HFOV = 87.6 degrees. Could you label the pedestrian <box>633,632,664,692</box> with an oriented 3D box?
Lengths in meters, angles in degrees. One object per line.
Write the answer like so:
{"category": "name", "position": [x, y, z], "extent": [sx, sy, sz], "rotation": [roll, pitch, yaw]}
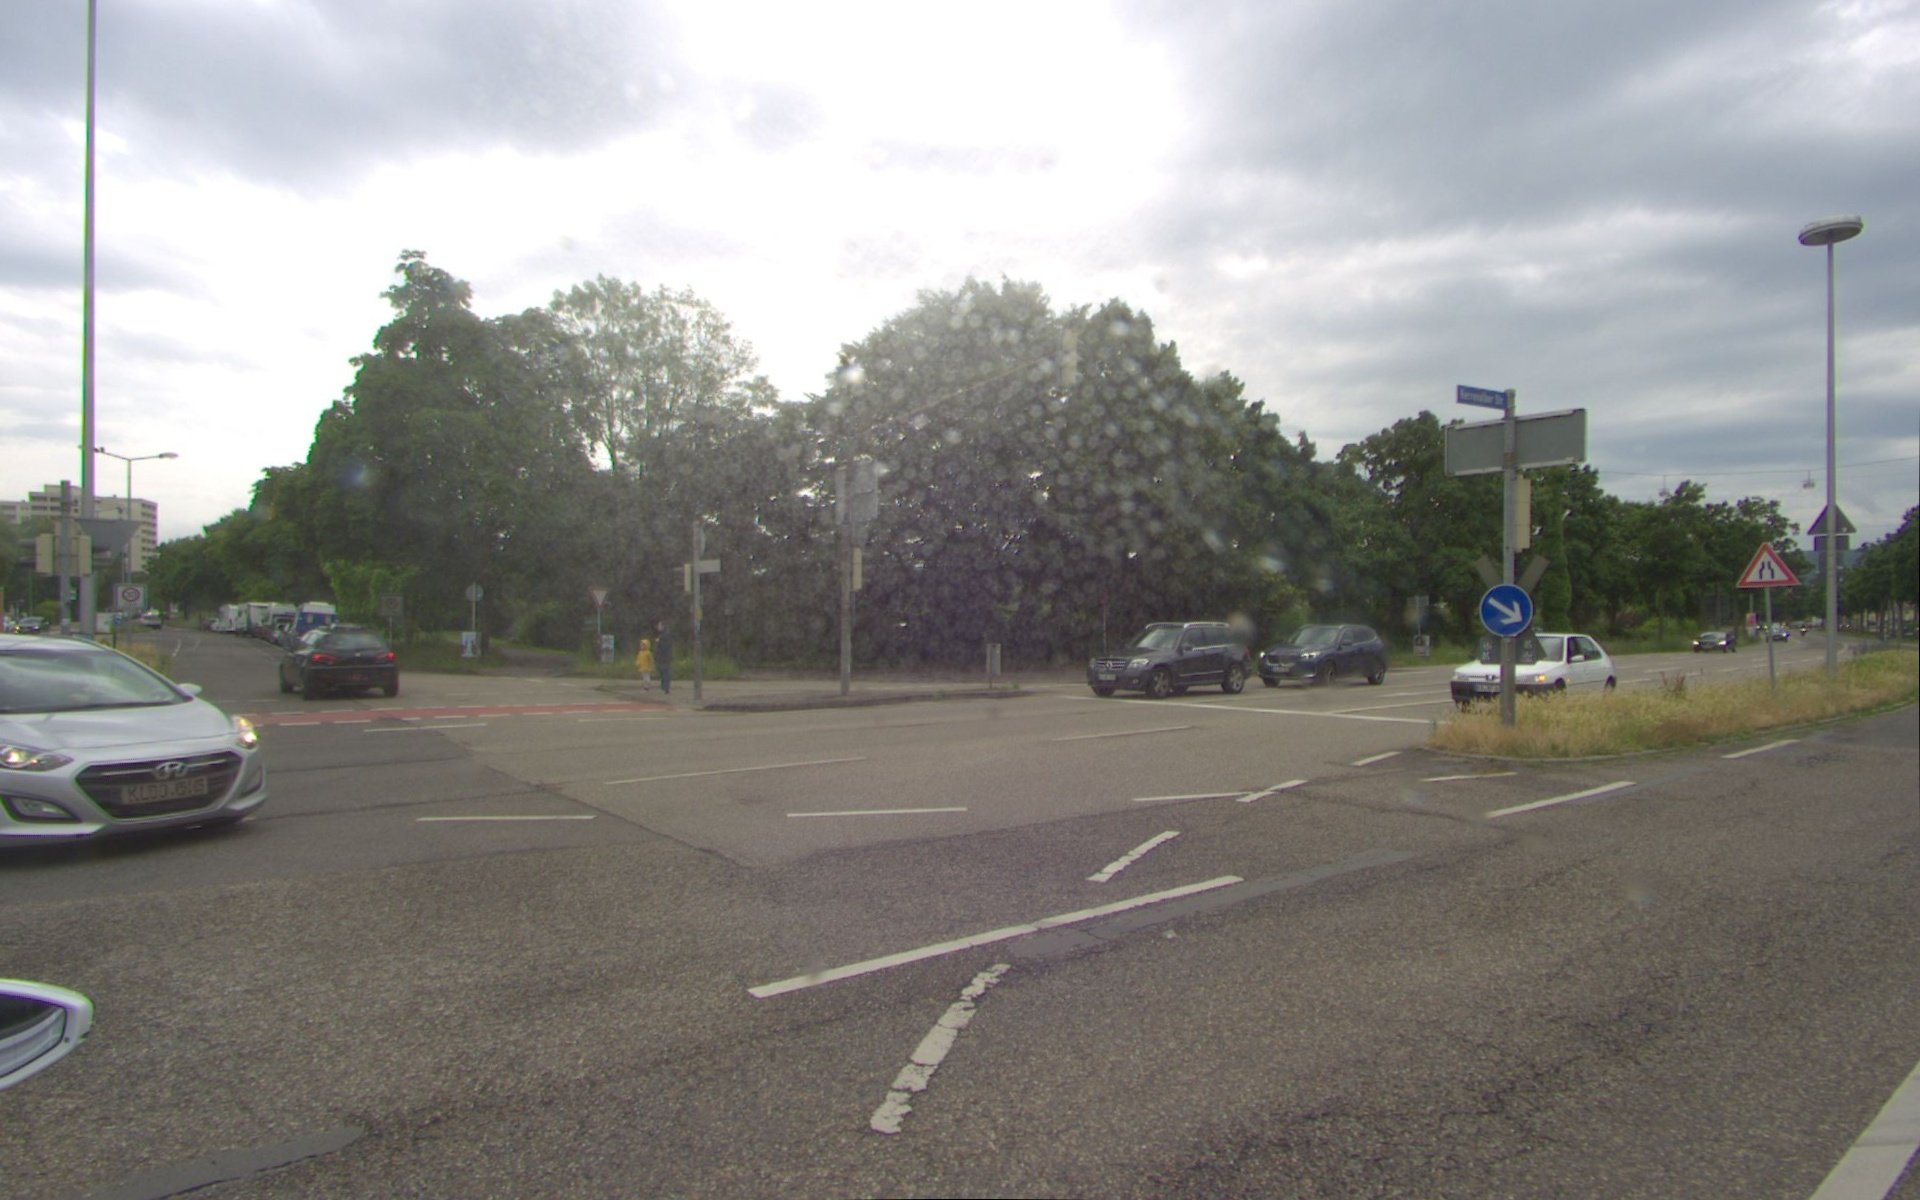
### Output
{"category": "pedestrian", "position": [-7.235, 1.429, 23.243], "extent": [0.523, 1.359, 0.520], "rotation": [1, 0, -40]}

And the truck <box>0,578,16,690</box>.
{"category": "truck", "position": [-19.647, 0.655, 18.882], "extent": [2.138, 2.227, 5.794], "rotation": [1, -1, -38]}

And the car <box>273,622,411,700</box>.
{"category": "car", "position": [-13.569, 1.254, 21.870], "extent": [1.785, 1.476, 4.499], "rotation": [1, -1, -42]}

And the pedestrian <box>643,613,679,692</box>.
{"category": "pedestrian", "position": [-6.815, 1.186, 22.840], "extent": [0.652, 1.773, 0.455], "rotation": [1, 0, -40]}

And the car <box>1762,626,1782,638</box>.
{"category": "car", "position": [110.885, 4.346, 136.743], "extent": [1.978, 1.677, 3.967], "rotation": [-1, -1, 42]}

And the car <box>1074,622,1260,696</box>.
{"category": "car", "position": [4.821, 1.288, 23.015], "extent": [4.429, 1.523, 1.831], "rotation": [1, -1, -39]}

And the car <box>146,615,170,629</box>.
{"category": "car", "position": [-88.006, 2.403, 109.850], "extent": [2.005, 1.525, 3.966], "rotation": [1, -1, -40]}

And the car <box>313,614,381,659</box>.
{"category": "car", "position": [-24.454, 1.422, 39.910], "extent": [1.770, 1.683, 3.966], "rotation": [1, -1, -40]}

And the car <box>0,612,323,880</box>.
{"category": "car", "position": [-7.047, 0.866, 7.433], "extent": [4.251, 1.539, 1.791], "rotation": [0, -1, 22]}

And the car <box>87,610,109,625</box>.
{"category": "car", "position": [-93.020, 1.914, 108.094], "extent": [1.631, 1.614, 3.969], "rotation": [1, -1, -38]}

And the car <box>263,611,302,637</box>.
{"category": "car", "position": [-46.535, 1.639, 68.747], "extent": [1.707, 1.782, 3.964], "rotation": [1, -1, -41]}

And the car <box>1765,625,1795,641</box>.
{"category": "car", "position": [82.845, 3.321, 101.120], "extent": [3.957, 1.594, 1.744], "rotation": [1, -1, -41]}

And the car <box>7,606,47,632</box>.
{"category": "car", "position": [-73.828, 1.498, 79.297], "extent": [1.977, 2.040, 3.968], "rotation": [1, -1, -39]}

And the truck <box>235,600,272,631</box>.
{"category": "truck", "position": [-60.210, 1.336, 85.271], "extent": [1.979, 2.606, 5.330], "rotation": [1, -1, -42]}

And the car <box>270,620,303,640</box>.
{"category": "car", "position": [-44.061, 1.939, 65.467], "extent": [1.315, 1.206, 3.620], "rotation": [1, -1, -41]}

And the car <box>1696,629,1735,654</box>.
{"category": "car", "position": [49.673, 2.686, 65.803], "extent": [1.644, 1.550, 3.856], "rotation": [0, -1, 44]}

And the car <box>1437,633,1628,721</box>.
{"category": "car", "position": [10.376, 1.305, 18.043], "extent": [4.104, 1.375, 1.634], "rotation": [1, -1, -39]}

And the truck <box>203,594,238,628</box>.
{"category": "truck", "position": [-68.294, 1.019, 92.449], "extent": [1.980, 3.048, 5.718], "rotation": [1, -1, -43]}

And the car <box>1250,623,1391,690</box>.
{"category": "car", "position": [9.656, 1.448, 26.694], "extent": [3.958, 1.639, 1.862], "rotation": [1, -1, -41]}

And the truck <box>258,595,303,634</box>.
{"category": "truck", "position": [-51.966, 1.126, 76.566], "extent": [1.980, 2.875, 5.676], "rotation": [1, -1, -43]}

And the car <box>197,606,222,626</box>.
{"category": "car", "position": [-78.289, 1.680, 104.394], "extent": [1.641, 1.944, 3.880], "rotation": [1, 0, -44]}

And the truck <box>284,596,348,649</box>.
{"category": "truck", "position": [-34.367, 1.192, 53.338], "extent": [2.157, 2.691, 6.194], "rotation": [0, -1, -40]}
